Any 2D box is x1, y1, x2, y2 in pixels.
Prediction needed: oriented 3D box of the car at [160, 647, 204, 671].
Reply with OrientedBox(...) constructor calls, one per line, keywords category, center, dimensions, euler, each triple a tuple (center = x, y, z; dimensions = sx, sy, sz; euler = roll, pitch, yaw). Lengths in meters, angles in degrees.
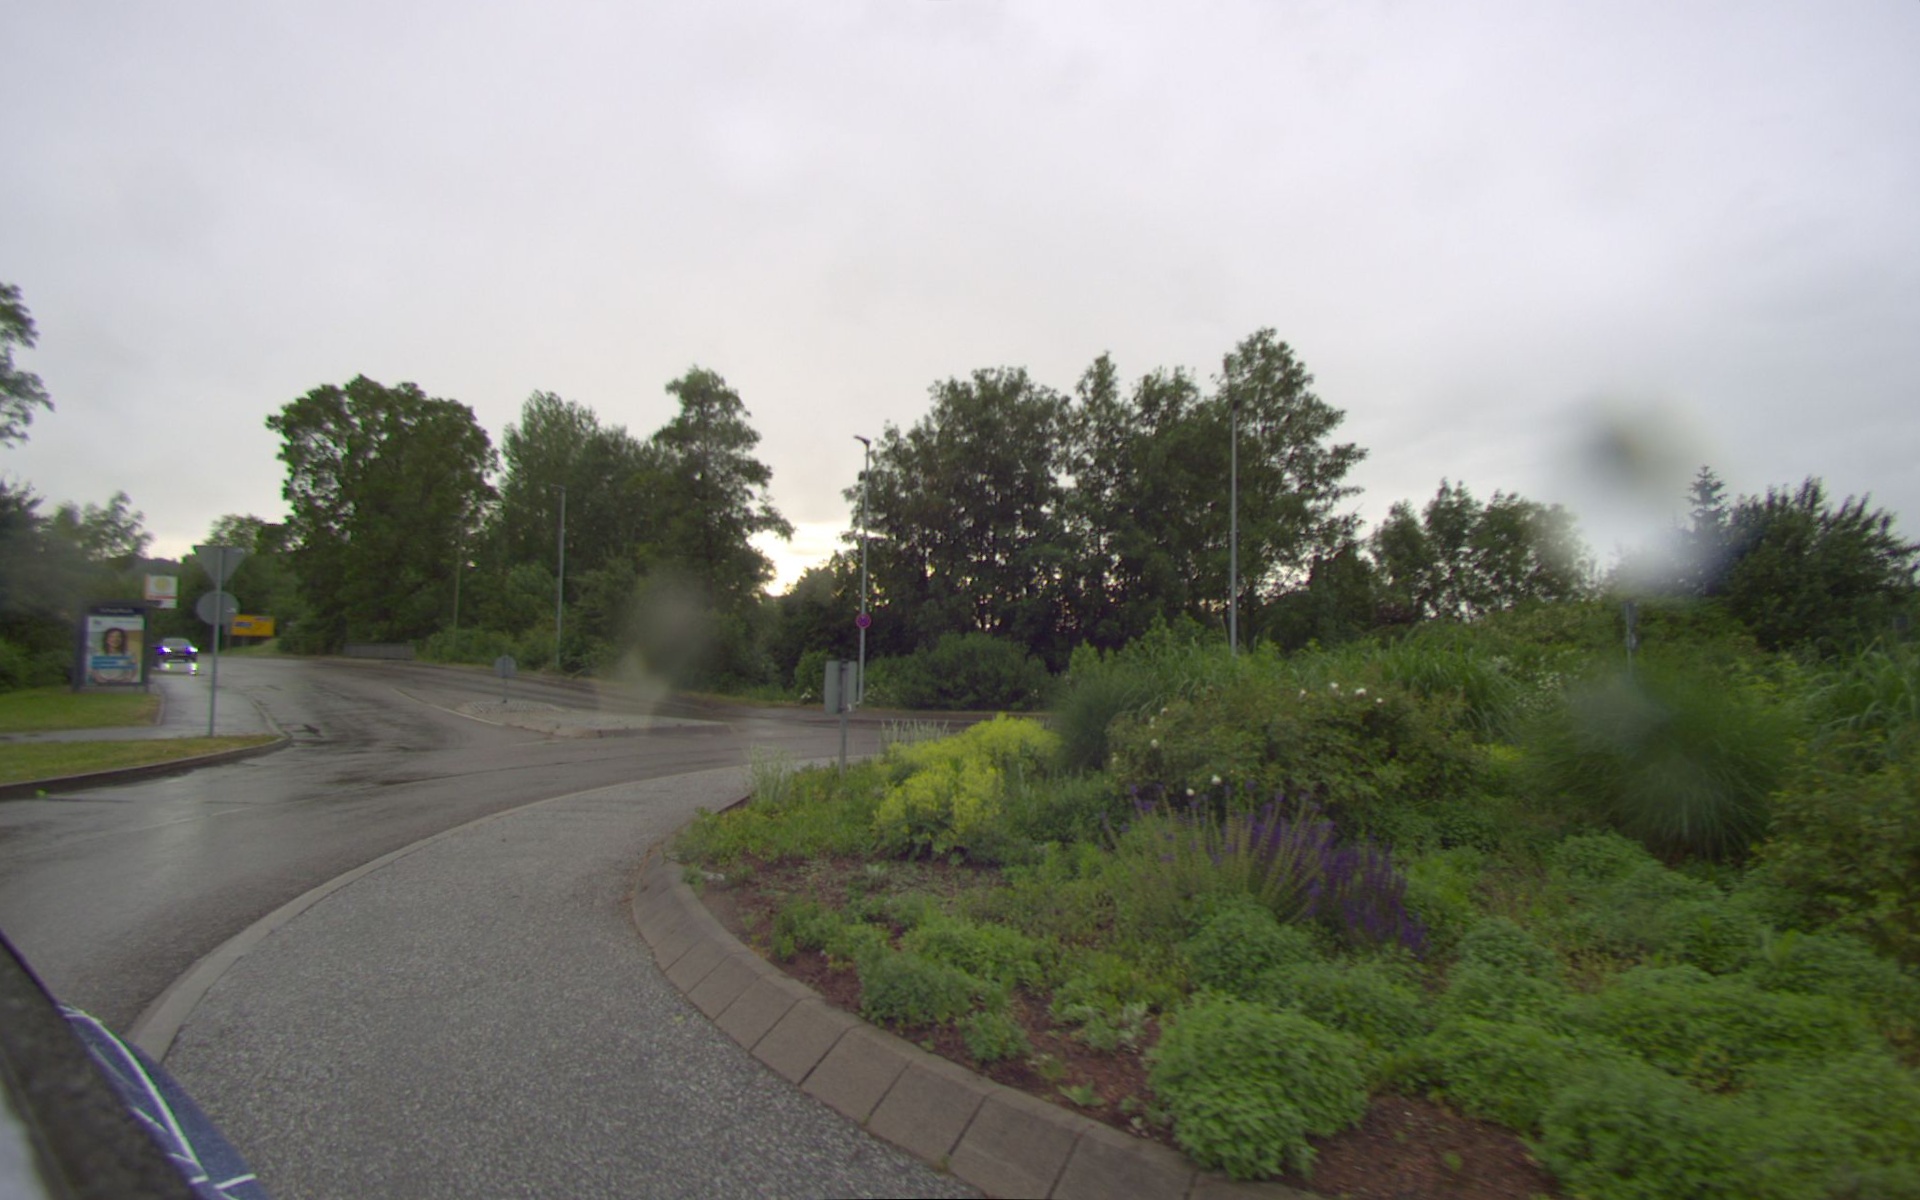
OrientedBox(category="car", center=(-50.127, 3.787, 65.181), dimensions=(1.828, 1.501, 4.125), euler=(4, -5, -42))
